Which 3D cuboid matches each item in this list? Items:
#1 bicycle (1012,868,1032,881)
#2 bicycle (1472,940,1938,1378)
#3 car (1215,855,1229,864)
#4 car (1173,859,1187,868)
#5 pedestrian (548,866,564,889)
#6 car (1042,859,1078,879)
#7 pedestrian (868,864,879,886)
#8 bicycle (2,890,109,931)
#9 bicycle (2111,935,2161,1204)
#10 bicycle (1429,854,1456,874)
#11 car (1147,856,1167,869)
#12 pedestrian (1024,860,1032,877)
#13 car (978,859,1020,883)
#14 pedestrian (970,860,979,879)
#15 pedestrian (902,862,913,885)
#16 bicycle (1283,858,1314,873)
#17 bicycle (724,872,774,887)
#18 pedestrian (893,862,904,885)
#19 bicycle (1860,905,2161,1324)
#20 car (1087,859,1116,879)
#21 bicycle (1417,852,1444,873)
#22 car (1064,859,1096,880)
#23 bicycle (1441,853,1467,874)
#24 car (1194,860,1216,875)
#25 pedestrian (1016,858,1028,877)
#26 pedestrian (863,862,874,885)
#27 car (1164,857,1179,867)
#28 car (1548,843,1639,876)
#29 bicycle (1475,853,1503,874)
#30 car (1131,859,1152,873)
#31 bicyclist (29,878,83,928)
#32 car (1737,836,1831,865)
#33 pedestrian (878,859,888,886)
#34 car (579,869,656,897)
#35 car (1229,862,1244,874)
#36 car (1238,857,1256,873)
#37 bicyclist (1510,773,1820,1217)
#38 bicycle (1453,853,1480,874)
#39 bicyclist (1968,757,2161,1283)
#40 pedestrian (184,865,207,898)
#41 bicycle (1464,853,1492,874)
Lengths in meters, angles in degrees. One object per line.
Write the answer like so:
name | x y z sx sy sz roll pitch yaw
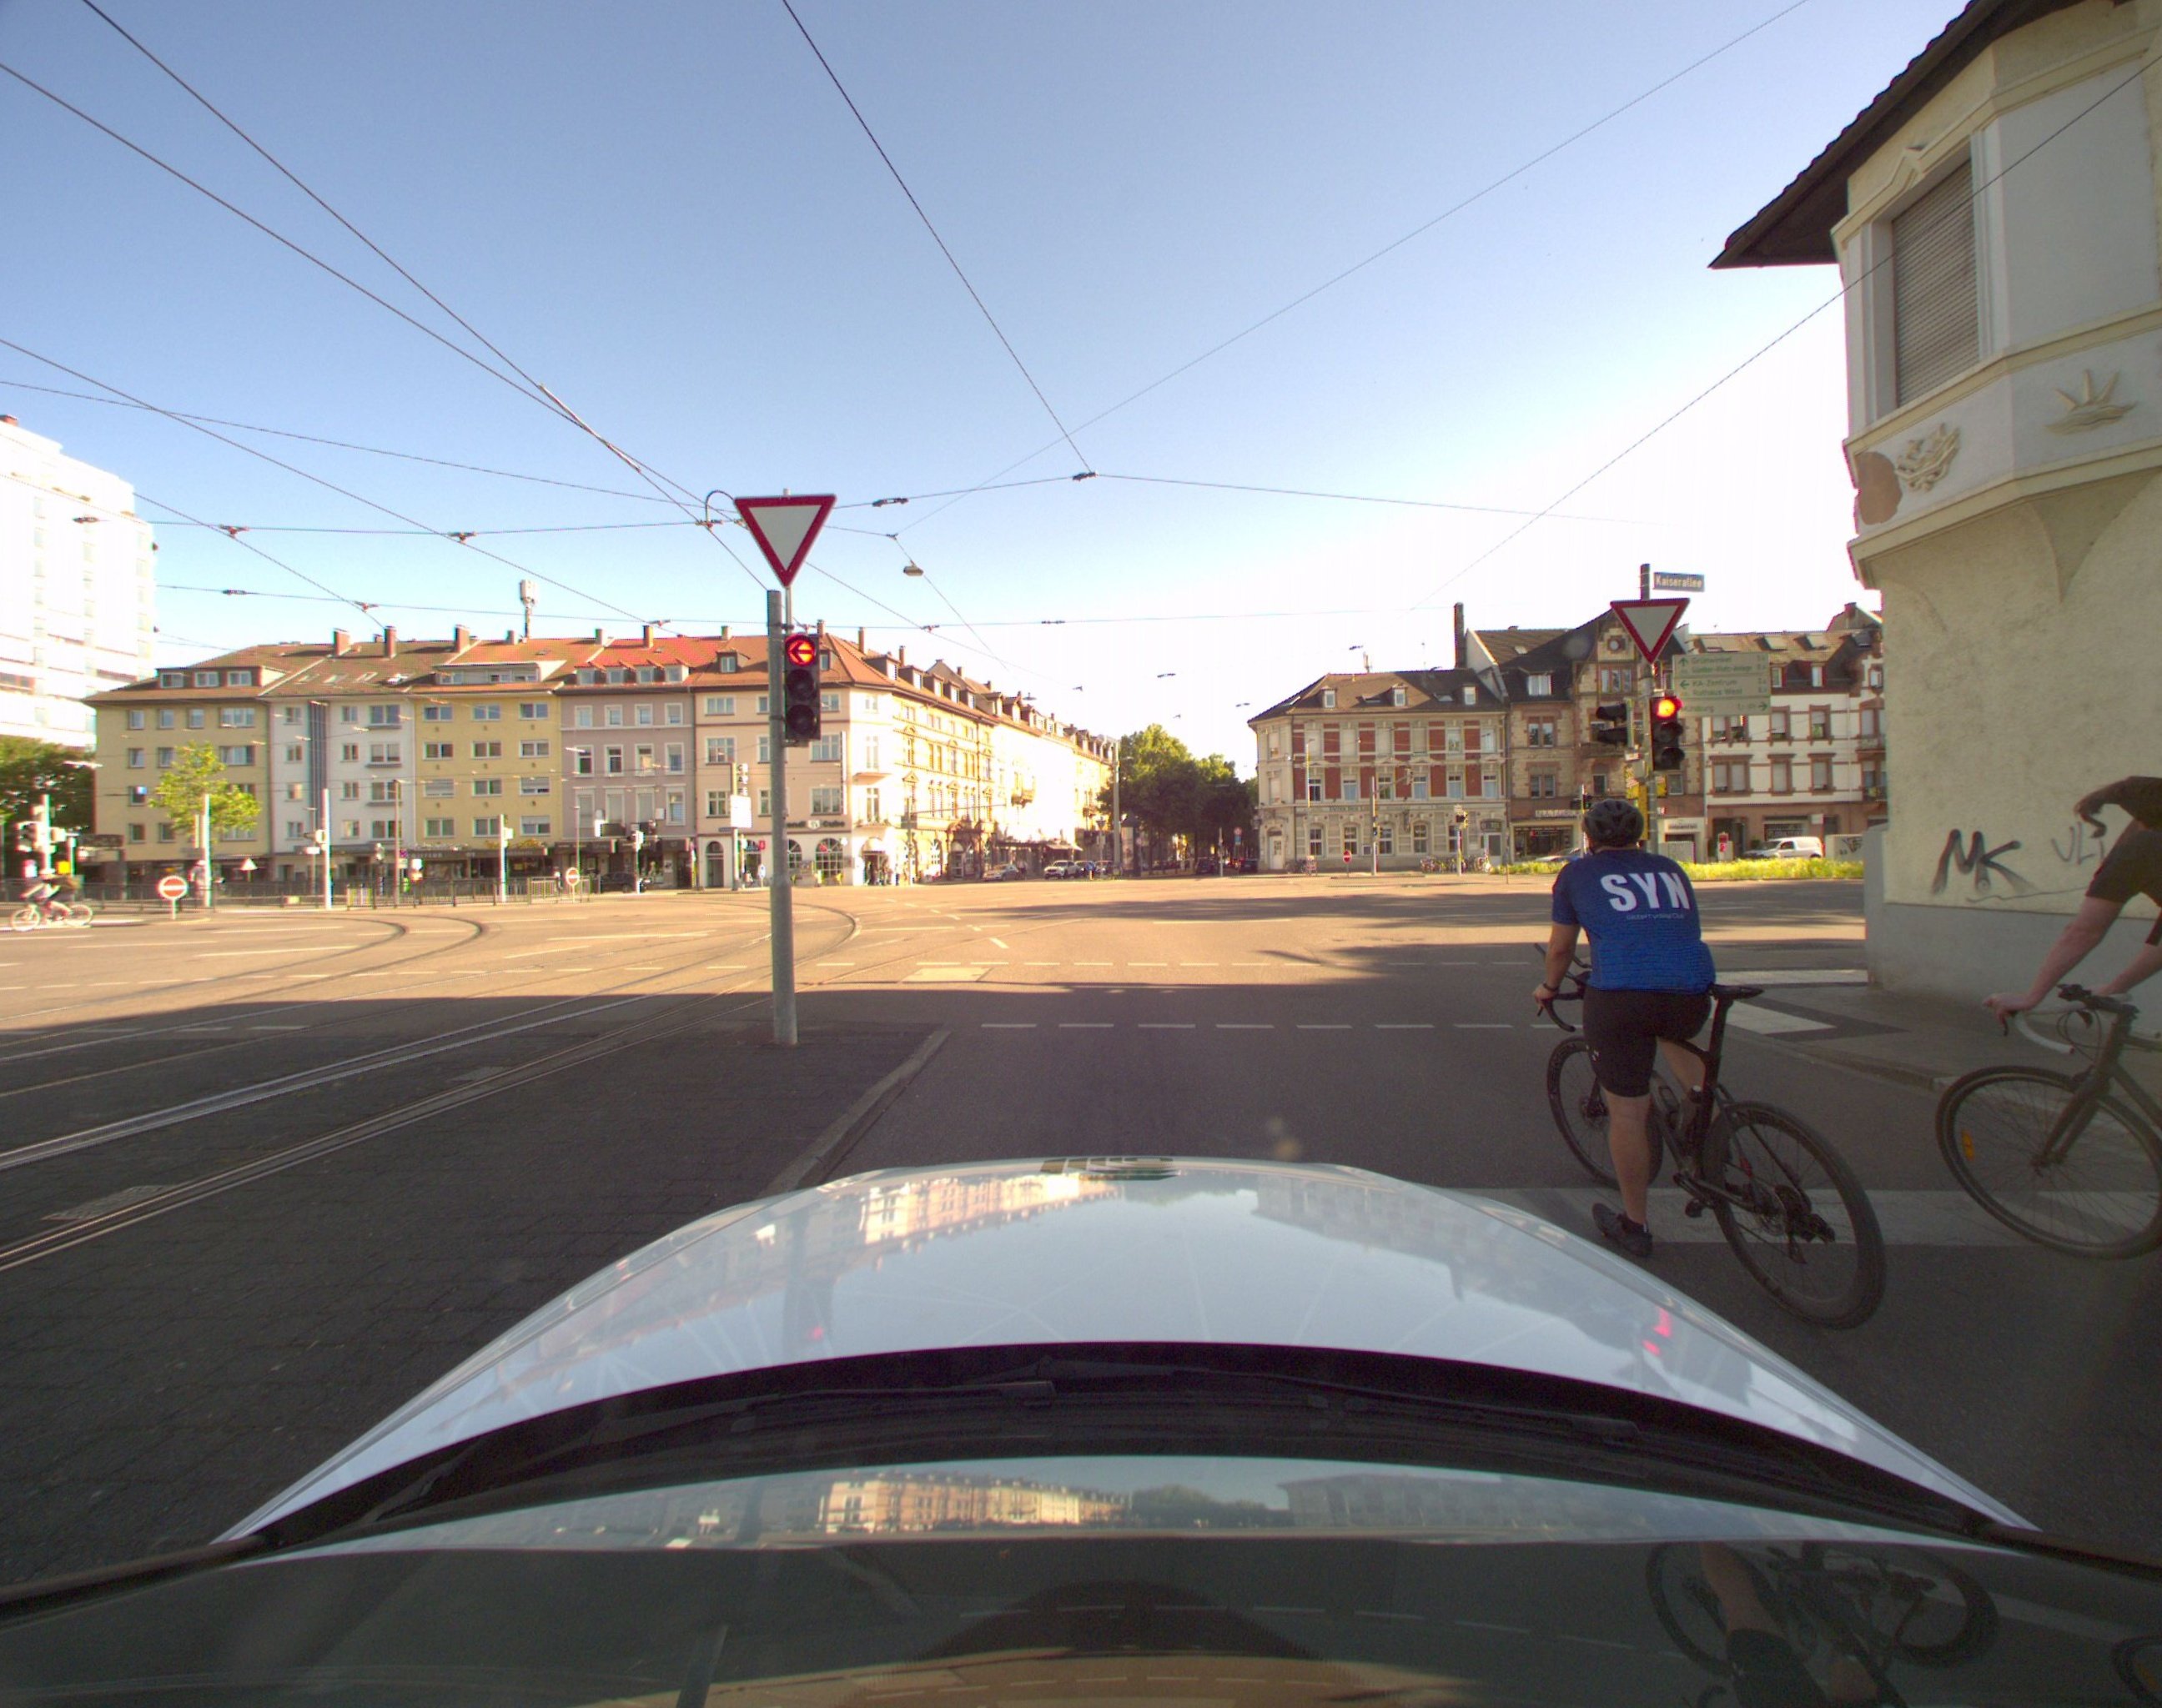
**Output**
bicycle | -4.733 1.634 65.549 0.756 1.008 2.406 -1 -1 16
bicycle | 2.204 0.964 3.202 0.623 1.085 1.705 0 -1 5
car | 23.234 0.919 134.173 1.546 1.513 3.673 -1 -1 19
car | 16.591 1.516 135.876 1.546 1.513 3.673 -1 -1 19
pedestrian | -36.548 1.637 56.705 0.631 1.634 0.700 0 -1 -2
car | -1.678 1.198 67.446 1.979 1.618 4.015 -1 -1 14
pedestrian | -14.352 1.454 56.357 0.631 1.477 0.465 0 -1 -2
bicycle | -29.242 1.584 23.266 0.568 1.070 1.802 -1 -1 18
bicycle | 4.477 0.836 2.414 0.647 1.031 1.772 0 -1 3
bicycle | 23.259 0.627 52.411 0.689 1.287 2.663 0 -1 3
car | 11.447 1.232 122.284 1.977 1.904 4.019 -1 -1 19
pedestrian | -5.198 1.450 79.377 0.539 1.631 0.709 -1 -1 15
car | -6.754 1.367 67.439 1.977 1.904 4.019 -1 -1 19
pedestrian | -9.154 1.347 69.812 0.539 1.631 0.709 -1 -1 15
pedestrian | -12.281 1.384 57.661 0.631 1.634 0.700 0 -1 -2
bicycle | 15.191 0.783 56.872 2.040 0.998 0.631 -1 -1 4
bicycle | -23.427 1.787 57.458 3.118 0.980 1.002 0 -1 1
pedestrian | -12.639 1.341 56.358 0.631 1.634 0.700 0 -1 -2
bicycle | 3.715 0.833 2.637 0.752 1.236 1.702 0 -1 0
car | 2.052 1.403 79.855 1.979 1.904 4.015 -1 -1 14
bicycle | 22.453 0.531 52.379 0.689 1.287 2.663 0 -1 3
car | -0.038 1.370 73.851 1.979 1.904 4.015 -1 -1 14
bicycle | 23.982 0.618 52.404 0.626 1.287 2.663 0 -1 3
car | 11.867 1.238 77.713 1.741 1.362 3.870 -1 -1 14
pedestrian | -4.761 1.105 65.480 0.814 1.512 0.601 -1 -1 16
pedestrian | -14.900 1.376 57.144 0.631 1.612 0.465 0 -1 -2
car | 14.676 1.308 131.806 1.546 1.513 3.673 -1 -1 19
car | 28.340 0.311 45.127 3.769 1.778 2.000 0 -1 1
bicycle | 26.195 0.616 52.343 0.626 1.287 2.663 0 -1 3
car | 8.400 1.622 112.683 1.977 1.904 4.019 -1 -1 19
bicyclist | -29.233 1.389 23.230 0.554 1.366 0.806 -1 -1 18
car | 45.309 -0.225 52.556 4.349 1.778 2.000 0 -1 1
pedestrian | -13.918 1.306 57.195 0.631 1.881 0.465 0 -1 -2
car | -30.591 1.914 53.810 3.962 1.670 2.006 -2 0 10
car | 19.829 1.736 103.906 1.760 1.530 4.012 -1 -1 11
car | 16.818 1.130 82.352 1.680 1.565 3.855 -1 -1 14
bicyclist | 2.200 0.467 3.193 0.635 1.494 0.885 0 1 6
bicycle | 24.772 0.623 52.376 0.626 1.287 2.663 0 -1 3
bicyclist | 3.696 0.505 2.575 0.803 1.606 0.883 0 -1 0
pedestrian | -45.372 1.401 41.745 0.523 1.628 0.577 0 -1 0
bicycle | 25.500 0.609 52.372 0.626 1.287 2.663 0 -1 3
